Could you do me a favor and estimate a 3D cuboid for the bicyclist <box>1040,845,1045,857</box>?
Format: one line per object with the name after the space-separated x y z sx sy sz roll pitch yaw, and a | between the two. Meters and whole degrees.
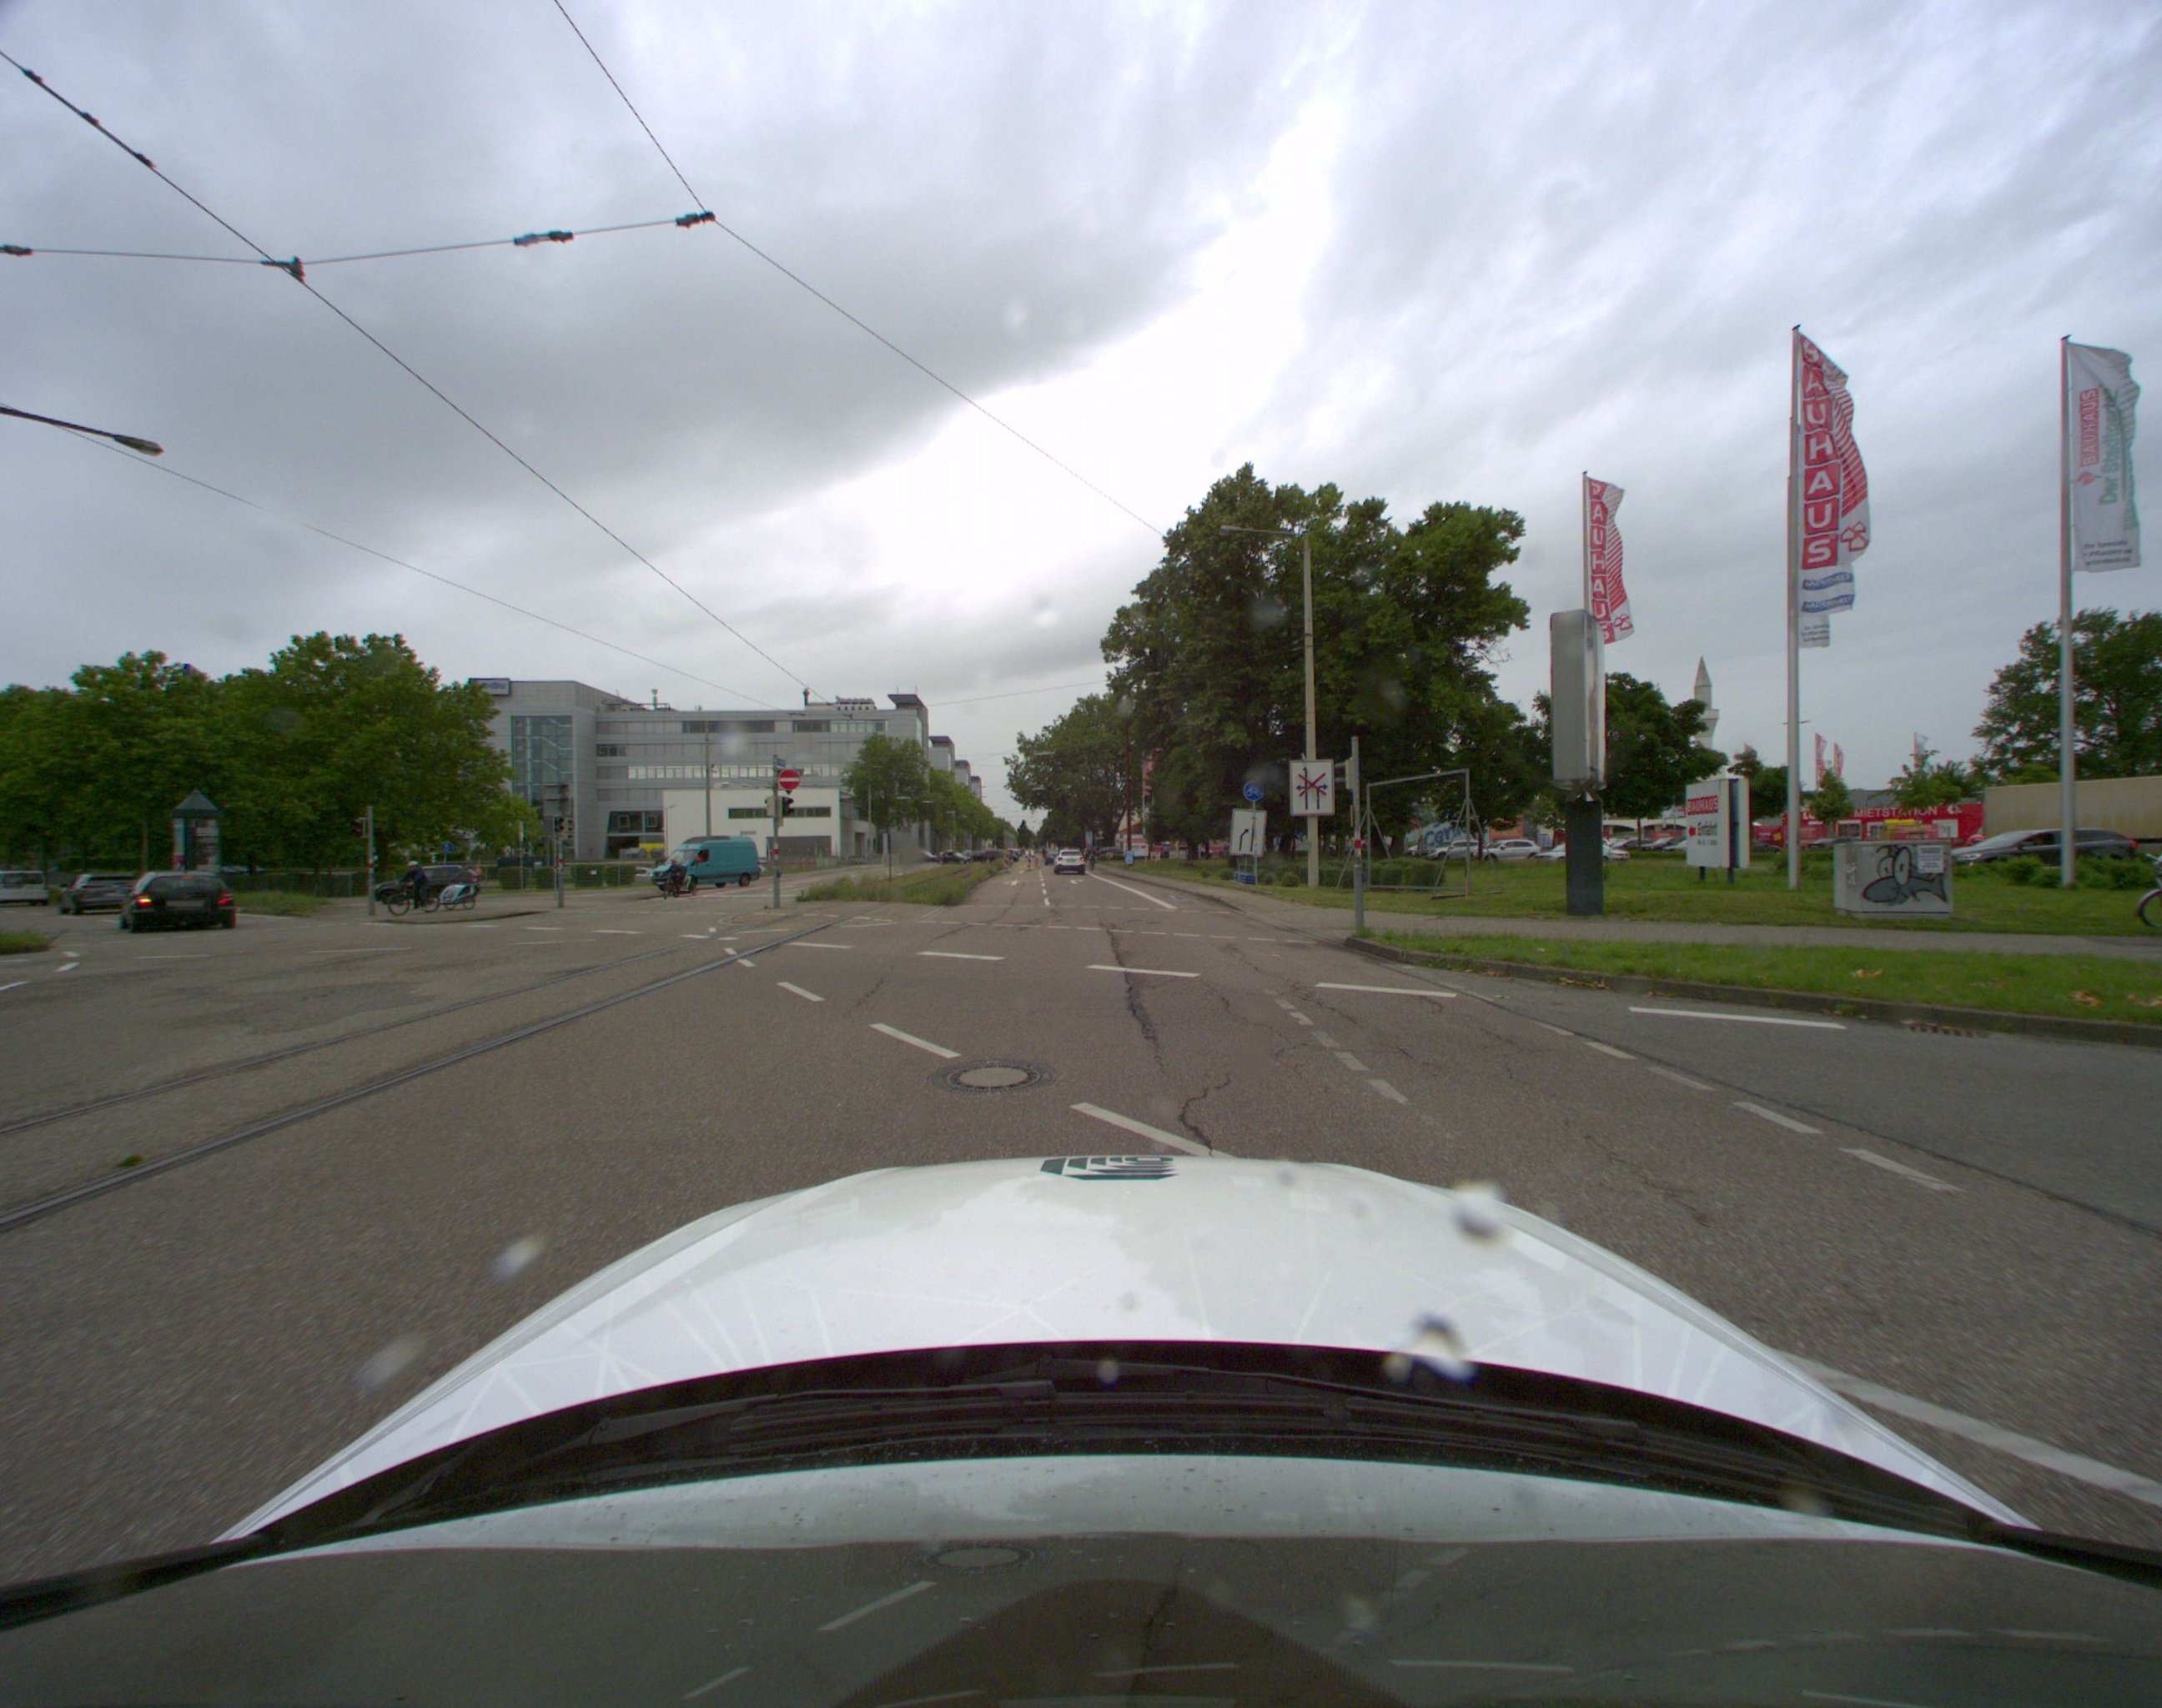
-6.126 -0.459 129.418 0.670 1.815 0.758 0 1 -7 | bicyclist

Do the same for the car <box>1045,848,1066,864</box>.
-2.507 0.155 79.454 1.682 1.513 3.698 0 1 -6 | car

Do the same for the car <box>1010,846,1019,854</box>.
-14.709 -0.881 180.028 1.874 1.763 3.994 -2 1 -5 | car

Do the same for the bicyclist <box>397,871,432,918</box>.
-21.750 1.315 26.569 0.645 1.518 0.624 1 1 -9 | bicyclist

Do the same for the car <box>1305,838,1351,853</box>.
28.413 -1.009 93.762 4.544 1.572 2.071 -1 0 -4 | car

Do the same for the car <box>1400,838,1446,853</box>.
39.989 -0.978 95.211 4.544 1.572 2.071 -1 0 -4 | car

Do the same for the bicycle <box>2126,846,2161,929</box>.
15.536 0.454 11.724 1.817 1.118 0.482 -2 0 -41 | bicycle

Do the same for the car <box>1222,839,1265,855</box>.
18.584 -0.832 93.268 4.544 1.790 2.071 -1 1 -4 | car

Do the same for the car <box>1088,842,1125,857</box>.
3.091 -0.509 99.298 4.305 1.677 1.990 -1 0 -4 | car

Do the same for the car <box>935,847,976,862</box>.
-13.913 0.090 90.485 4.083 1.475 1.834 -3 -1 18 | car

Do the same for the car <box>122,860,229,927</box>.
-23.921 0.981 21.610 3.623 1.527 1.785 1 1 44 | car

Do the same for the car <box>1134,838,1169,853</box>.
8.705 -1.071 100.263 4.194 1.677 1.995 -1 0 4 | car

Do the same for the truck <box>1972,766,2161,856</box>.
44.379 -1.705 34.450 2.933 3.564 9.238 1 0 -4 | truck

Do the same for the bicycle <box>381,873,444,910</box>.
-21.746 1.206 26.544 0.645 1.062 1.995 1 1 -9 | bicycle

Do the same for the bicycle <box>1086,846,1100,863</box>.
0.885 0.047 59.530 0.815 1.212 2.680 -1 0 -3 | bicycle

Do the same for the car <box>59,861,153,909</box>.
-37.562 1.134 31.360 3.622 1.652 1.790 1 1 31 | car

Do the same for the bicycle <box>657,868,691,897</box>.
-16.459 1.123 32.960 0.645 1.062 2.018 1 1 -9 | bicycle

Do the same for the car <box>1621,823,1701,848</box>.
42.495 -1.363 59.731 4.551 1.677 2.149 -1 0 -9 | car

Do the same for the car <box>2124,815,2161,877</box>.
28.186 -0.167 19.608 4.217 1.497 1.926 1 0 -7 | car

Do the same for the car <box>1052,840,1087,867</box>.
-0.741 -0.049 50.676 1.821 1.600 3.768 0 1 -6 | car

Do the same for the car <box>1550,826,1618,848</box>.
42.018 -1.411 68.079 4.551 1.677 2.149 -1 0 -9 | car

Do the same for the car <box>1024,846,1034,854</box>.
-10.015 -0.796 156.571 1.793 1.513 3.698 0 1 -6 | car

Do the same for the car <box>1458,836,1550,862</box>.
26.386 -0.303 50.909 4.667 1.497 2.167 1 0 -5 | car

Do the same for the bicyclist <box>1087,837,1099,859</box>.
0.871 -0.444 59.526 0.815 1.630 1.233 -1 0 -4 | bicyclist

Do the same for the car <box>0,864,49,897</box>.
-55.271 1.352 42.105 4.946 1.527 1.981 1 1 34 | car

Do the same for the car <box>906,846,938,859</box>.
-23.468 -0.227 120.208 4.396 1.783 1.826 -1 0 1 | car

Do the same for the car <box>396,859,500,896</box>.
-28.249 1.045 36.392 3.630 1.527 1.782 -1 0 15 | car

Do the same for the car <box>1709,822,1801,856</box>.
43.923 -0.971 53.115 4.551 2.051 2.149 -1 0 -9 | car

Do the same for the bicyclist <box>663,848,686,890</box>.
-16.456 0.601 32.976 0.645 1.683 0.683 1 1 -10 | bicyclist

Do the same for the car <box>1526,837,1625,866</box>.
27.042 -0.125 44.583 4.441 1.497 1.926 1 0 -8 | car

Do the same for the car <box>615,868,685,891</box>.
-32.514 1.883 61.479 4.200 1.532 1.911 -1 0 -2 | car

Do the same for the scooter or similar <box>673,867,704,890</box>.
-16.706 1.049 34.682 0.844 0.907 1.194 1 1 -10 | scooter or similar

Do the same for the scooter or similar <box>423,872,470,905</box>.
-21.993 1.181 28.253 0.645 1.062 1.445 1 1 -9 | scooter or similar

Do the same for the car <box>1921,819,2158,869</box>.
30.227 -0.309 25.885 4.561 1.497 1.940 1 0 19 | car

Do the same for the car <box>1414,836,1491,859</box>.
25.772 -0.448 56.561 4.528 1.497 1.954 1 0 -8 | car

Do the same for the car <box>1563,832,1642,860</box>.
32.538 -0.467 51.001 1.988 1.670 4.503 1 0 -2 | car

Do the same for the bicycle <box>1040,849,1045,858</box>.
-6.123 -0.009 129.411 0.670 1.393 2.162 0 1 -6 | bicycle

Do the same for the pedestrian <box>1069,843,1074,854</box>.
-1.464 -0.886 125.699 0.760 1.704 0.679 -2 0 -9 | pedestrian

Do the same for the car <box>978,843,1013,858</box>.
-9.571 -0.394 91.230 3.875 1.556 1.823 1 0 -4 | car

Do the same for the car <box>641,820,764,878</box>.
-19.937 -0.255 43.242 2.309 2.825 5.979 -1 0 20 | car

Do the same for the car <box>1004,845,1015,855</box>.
-12.834 -0.718 145.900 1.874 1.632 3.994 -2 1 -5 | car
